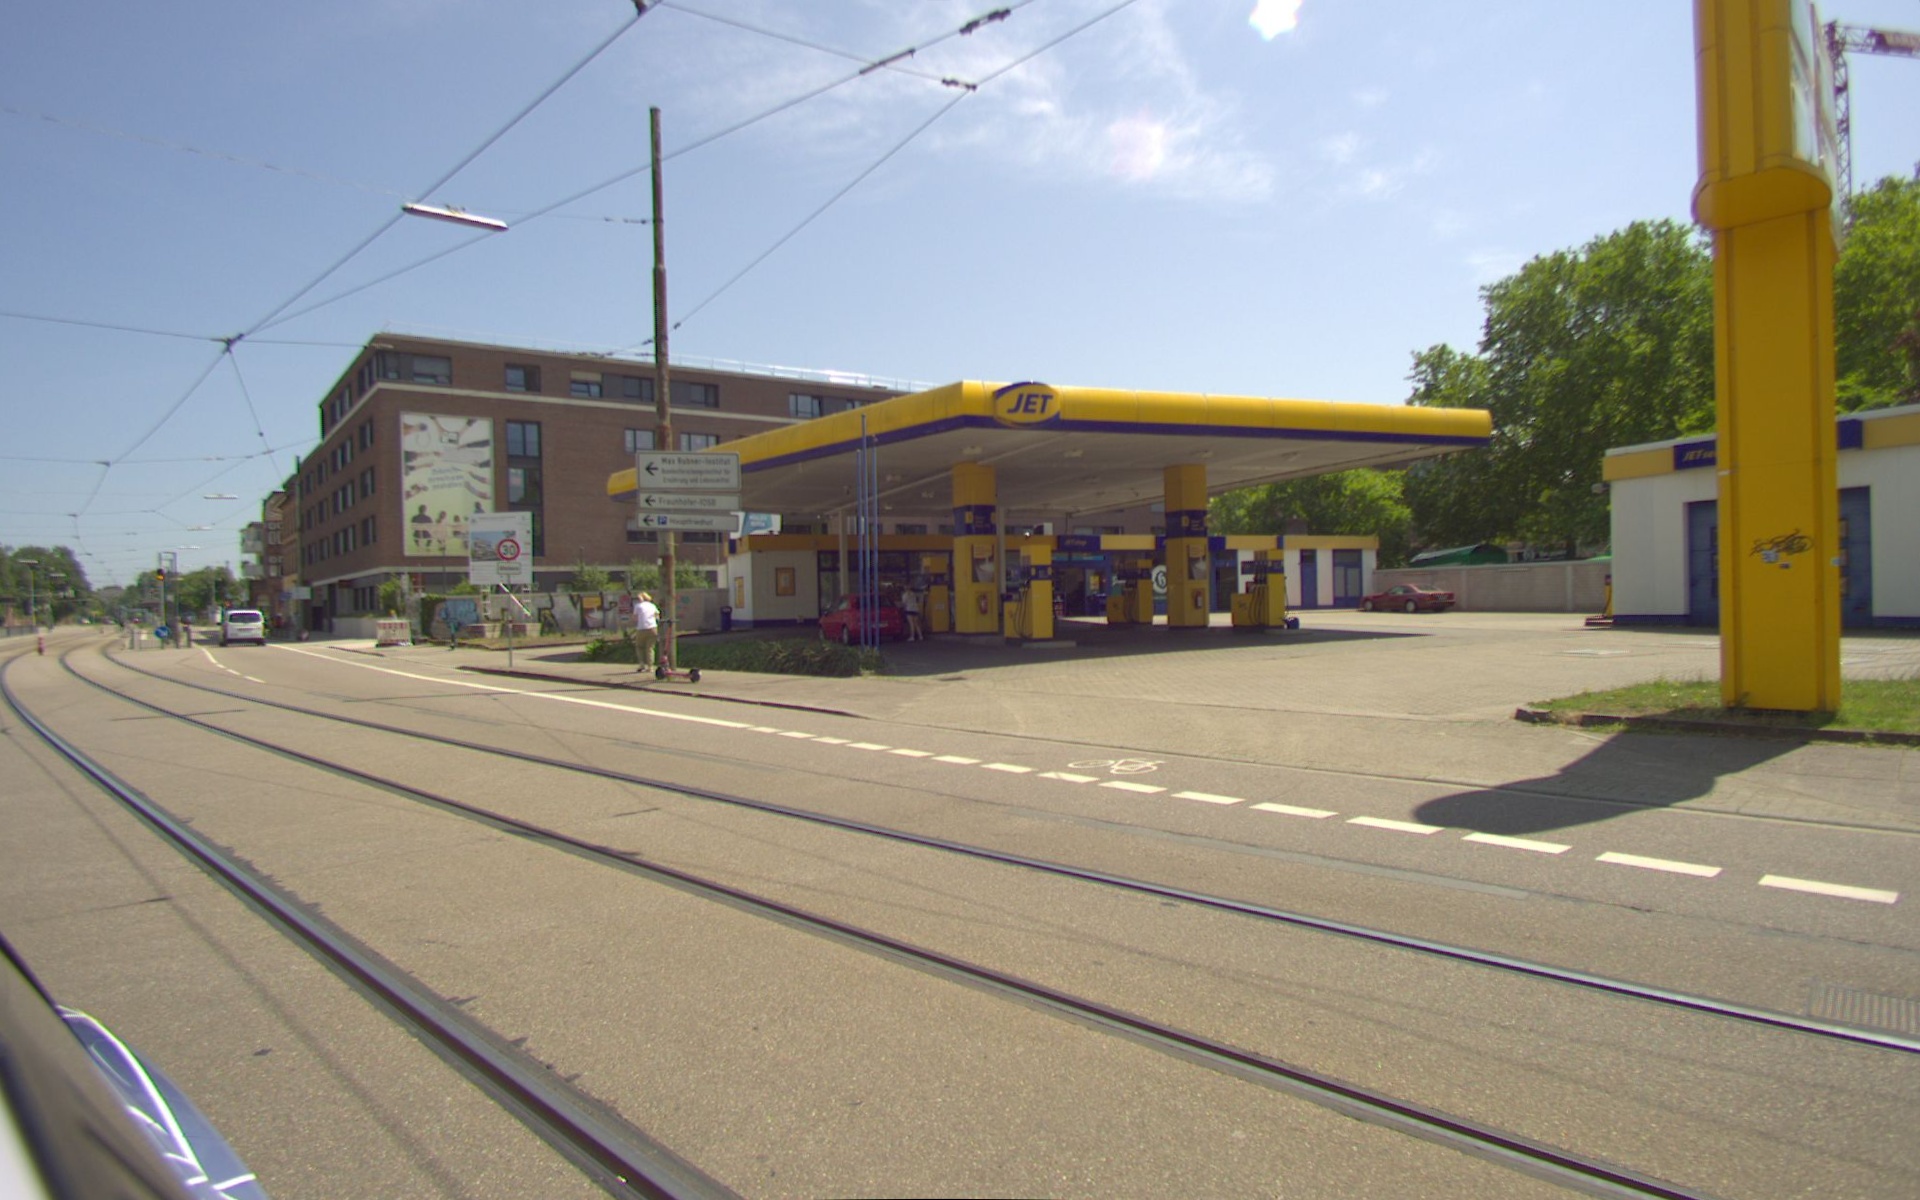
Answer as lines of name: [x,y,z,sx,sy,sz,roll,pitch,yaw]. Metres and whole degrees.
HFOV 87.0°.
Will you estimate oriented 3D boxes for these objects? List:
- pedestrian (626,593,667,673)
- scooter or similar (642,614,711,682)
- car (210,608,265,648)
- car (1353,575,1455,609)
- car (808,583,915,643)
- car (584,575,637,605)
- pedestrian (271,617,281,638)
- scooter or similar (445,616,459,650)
pedestrian: [-6.916,0.721,22.331,0.617,1.704,0.724,-2,0,-38]
scooter or similar: [-5.333,0.896,19.007,1.376,1.209,0.513,-2,1,41]
car: [-36.807,1.379,51.534,1.968,1.812,4.561,-4,2,-39]
car: [19.938,-0.333,45.675,1.690,1.420,4.254,-2,0,-20]
car: [-2.976,0.408,29.692,1.800,1.516,4.212,-4,0,-24]
car: [-19.330,-0.539,55.864,1.708,1.479,4.010,-3,1,-35]
pedestrian: [-55.814,2.239,82.567,0.595,1.608,0.716,-2,0,-41]
scooter or similar: [-19.535,1.258,38.943,0.340,1.274,1.246,-3,1,-22]
